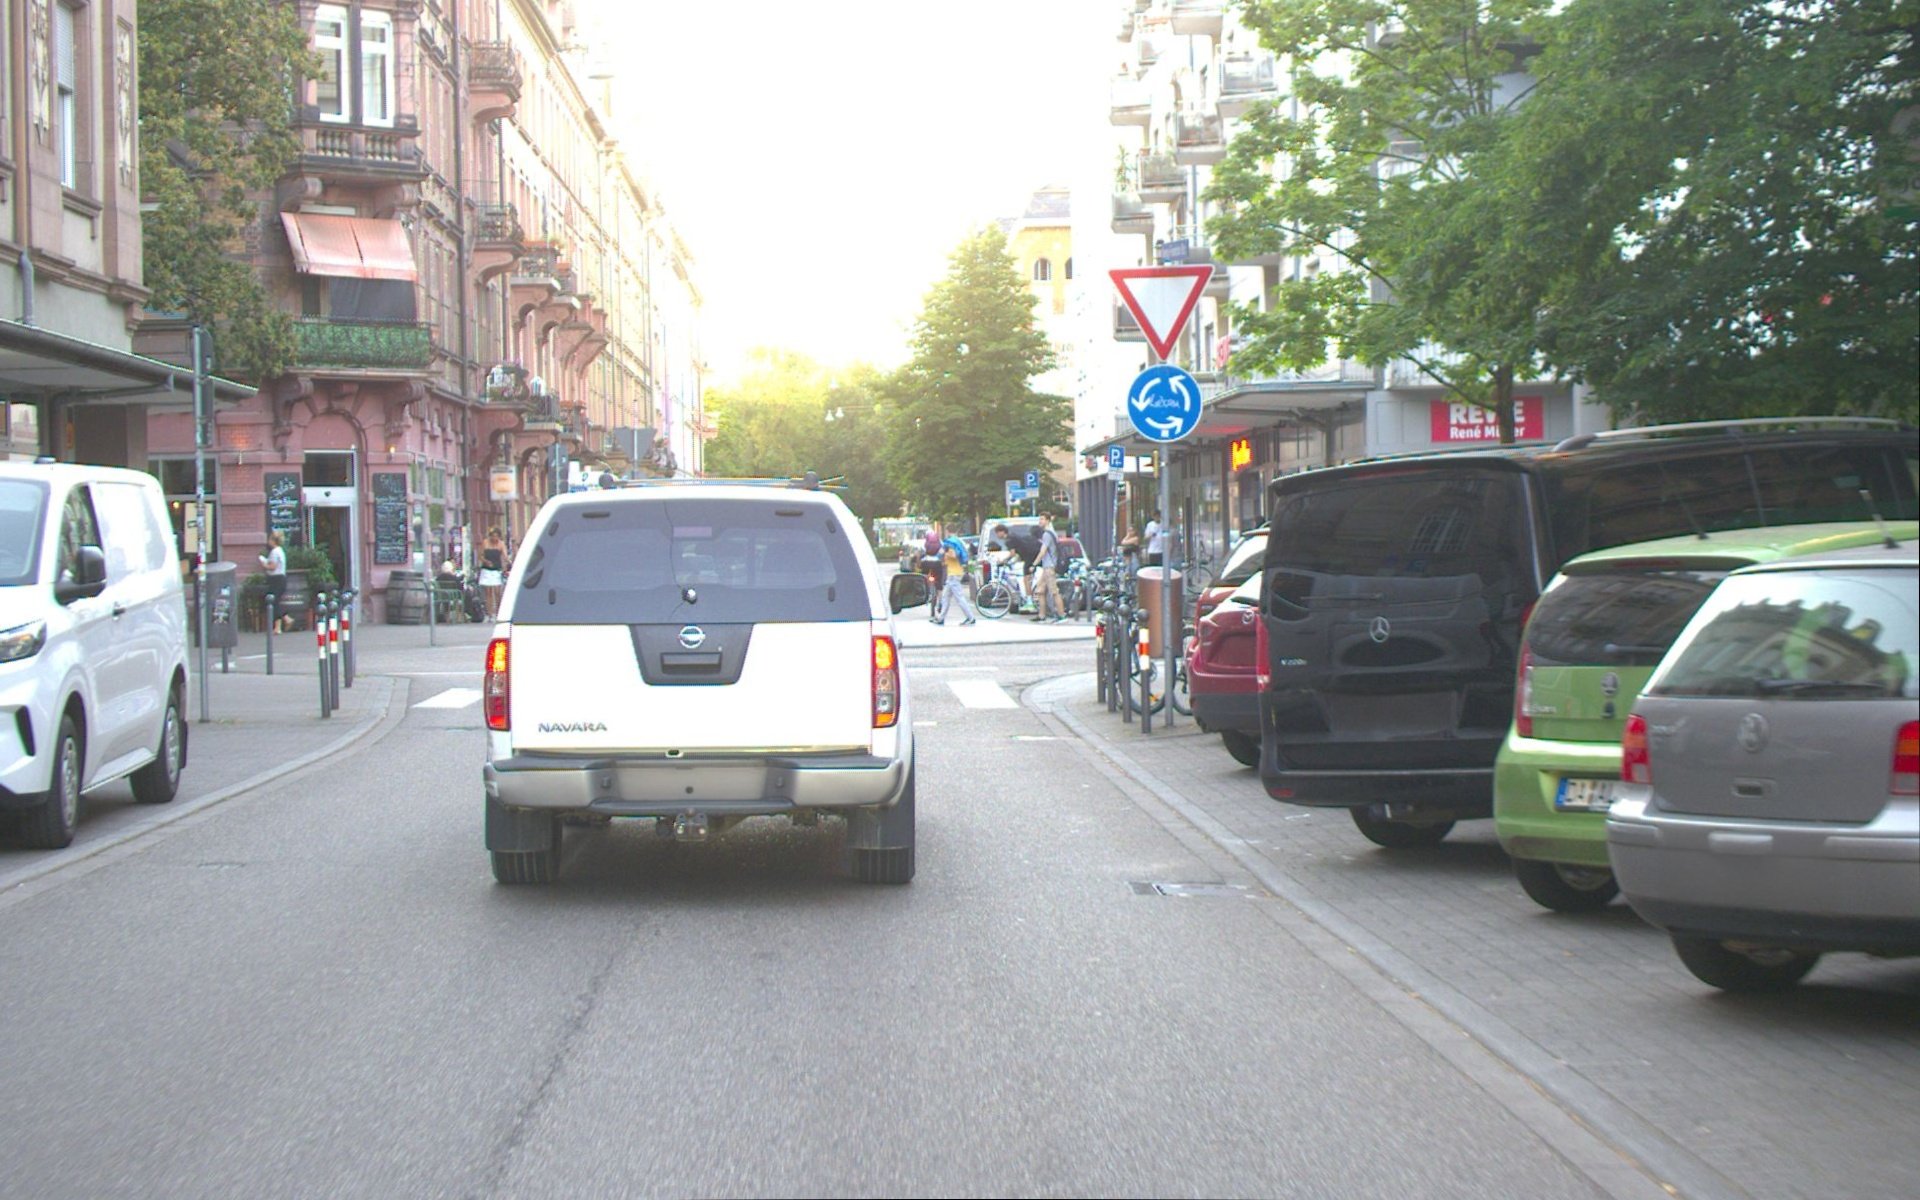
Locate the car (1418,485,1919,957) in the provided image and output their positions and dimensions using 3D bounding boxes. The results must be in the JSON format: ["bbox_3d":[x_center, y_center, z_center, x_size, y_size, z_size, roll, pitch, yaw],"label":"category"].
[{"bbox_3d":[4.033,0.326,13.755,4.096,1.546,1.818,-5,2,-33],"label":"car"}]

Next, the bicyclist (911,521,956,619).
[{"bbox_3d":[-0.537,-0.597,68.806,0.838,1.937,0.785,0,0,3],"label":"bicyclist"}]

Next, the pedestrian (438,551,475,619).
[{"bbox_3d":[-9.525,-0.287,65.059,0.648,1.281,0.540,0,0,-6],"label":"pedestrian"}]

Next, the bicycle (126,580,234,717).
[{"bbox_3d":[-6.662,0.397,29.417,0.471,1.138,1.785,0,0,1],"label":"bicycle"}]

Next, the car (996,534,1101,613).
[{"bbox_3d":[1.780,-0.541,70.020,1.834,1.536,4.000,0,0,-3],"label":"car"}]

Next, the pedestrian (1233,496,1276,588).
[{"bbox_3d":[5.391,-1.061,62.977,0.720,1.657,0.702,0,0,1],"label":"pedestrian"}]

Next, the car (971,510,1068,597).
[{"bbox_3d":[1.338,-1.063,78.788,1.942,1.927,4.000,0,0,-3],"label":"car"}]

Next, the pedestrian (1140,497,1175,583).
[{"bbox_3d":[4.405,-1.338,76.686,0.720,1.900,0.702,0,0,-2],"label":"pedestrian"}]

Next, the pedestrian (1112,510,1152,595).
[{"bbox_3d":[3.371,-0.923,67.280,0.720,1.657,0.702,0,0,-2],"label":"pedestrian"}]

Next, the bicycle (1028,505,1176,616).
[{"bbox_3d":[2.575,-0.718,62.558,2.647,2.007,0.638,0,0,-1],"label":"bicycle"}]

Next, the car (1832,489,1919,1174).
[{"bbox_3d":[4.245,0.399,8.694,4.097,1.585,1.818,-5,2,-39],"label":"car"}]

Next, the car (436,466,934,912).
[{"bbox_3d":[-1.141,0.345,16.512,1.938,1.804,5.001,0,0,1],"label":"car"}]

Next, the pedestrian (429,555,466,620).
[{"bbox_3d":[-9.512,-0.231,63.873,0.648,1.187,0.540,0,0,-6],"label":"pedestrian"}]

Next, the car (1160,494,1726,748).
[{"bbox_3d":[3.643,0.101,25.692,4.036,1.622,1.693,-4,3,-33],"label":"car"}]

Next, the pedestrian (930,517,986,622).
[{"bbox_3d":[-0.026,-0.505,56.967,0.903,1.730,0.616,0,0,1],"label":"pedestrian"}]

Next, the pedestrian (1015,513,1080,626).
[{"bbox_3d":[1.468,-0.507,57.673,0.903,1.878,0.616,0,0,-32],"label":"pedestrian"}]

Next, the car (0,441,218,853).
[{"bbox_3d":[-5.450,0.191,18.451,2.109,1.915,5.026,-1,1,-3],"label":"car"}]

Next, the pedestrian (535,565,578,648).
[{"bbox_3d":[-7.902,0.125,67.339,0.797,1.615,0.945,0,0,-4],"label":"pedestrian"}]

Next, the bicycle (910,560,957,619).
[{"bbox_3d":[-0.531,-0.212,68.721,0.838,1.167,1.936,0,0,2],"label":"bicycle"}]

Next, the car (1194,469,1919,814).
[{"bbox_3d":[3.644,0.173,19.918,4.212,1.617,1.933,-5,2,-35],"label":"car"}]

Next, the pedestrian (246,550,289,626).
[{"bbox_3d":[-11.581,-0.207,57.465,0.455,1.258,0.574,0,0,23],"label":"pedestrian"}]

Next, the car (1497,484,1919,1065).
[{"bbox_3d":[3.921,0.363,11.071,4.096,1.546,1.818,-5,2,-33],"label":"car"}]

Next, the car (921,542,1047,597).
[{"bbox_3d":[0.772,-0.992,112.364,3.986,1.744,1.841,0,0,-3],"label":"car"}]

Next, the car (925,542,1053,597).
[{"bbox_3d":[0.910,-0.975,110.129,3.986,1.744,1.841,0,0,-3],"label":"car"}]

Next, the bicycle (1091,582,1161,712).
[{"bbox_3d":[1.394,0.382,29.026,0.364,1.060,1.552,0,0,-6],"label":"bicycle"}]

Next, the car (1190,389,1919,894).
[{"bbox_3d":[3.827,0.048,17.085,5.422,2.065,1.933,-5,2,-40],"label":"car"}]

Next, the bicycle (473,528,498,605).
[{"bbox_3d":[-8.987,-0.638,65.161,0.424,1.437,1.905,0,0,-6],"label":"bicycle"}]

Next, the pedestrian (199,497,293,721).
[{"bbox_3d":[-5.890,0.071,28.400,0.536,1.817,0.997,0,0,1],"label":"pedestrian"}]

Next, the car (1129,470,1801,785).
[{"bbox_3d":[3.345,0.123,22.345,4.213,1.682,1.933,-5,2,-40],"label":"car"}]

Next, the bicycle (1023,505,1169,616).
[{"bbox_3d":[2.506,-0.725,63.371,2.647,2.007,0.638,0,0,-1],"label":"bicycle"}]
